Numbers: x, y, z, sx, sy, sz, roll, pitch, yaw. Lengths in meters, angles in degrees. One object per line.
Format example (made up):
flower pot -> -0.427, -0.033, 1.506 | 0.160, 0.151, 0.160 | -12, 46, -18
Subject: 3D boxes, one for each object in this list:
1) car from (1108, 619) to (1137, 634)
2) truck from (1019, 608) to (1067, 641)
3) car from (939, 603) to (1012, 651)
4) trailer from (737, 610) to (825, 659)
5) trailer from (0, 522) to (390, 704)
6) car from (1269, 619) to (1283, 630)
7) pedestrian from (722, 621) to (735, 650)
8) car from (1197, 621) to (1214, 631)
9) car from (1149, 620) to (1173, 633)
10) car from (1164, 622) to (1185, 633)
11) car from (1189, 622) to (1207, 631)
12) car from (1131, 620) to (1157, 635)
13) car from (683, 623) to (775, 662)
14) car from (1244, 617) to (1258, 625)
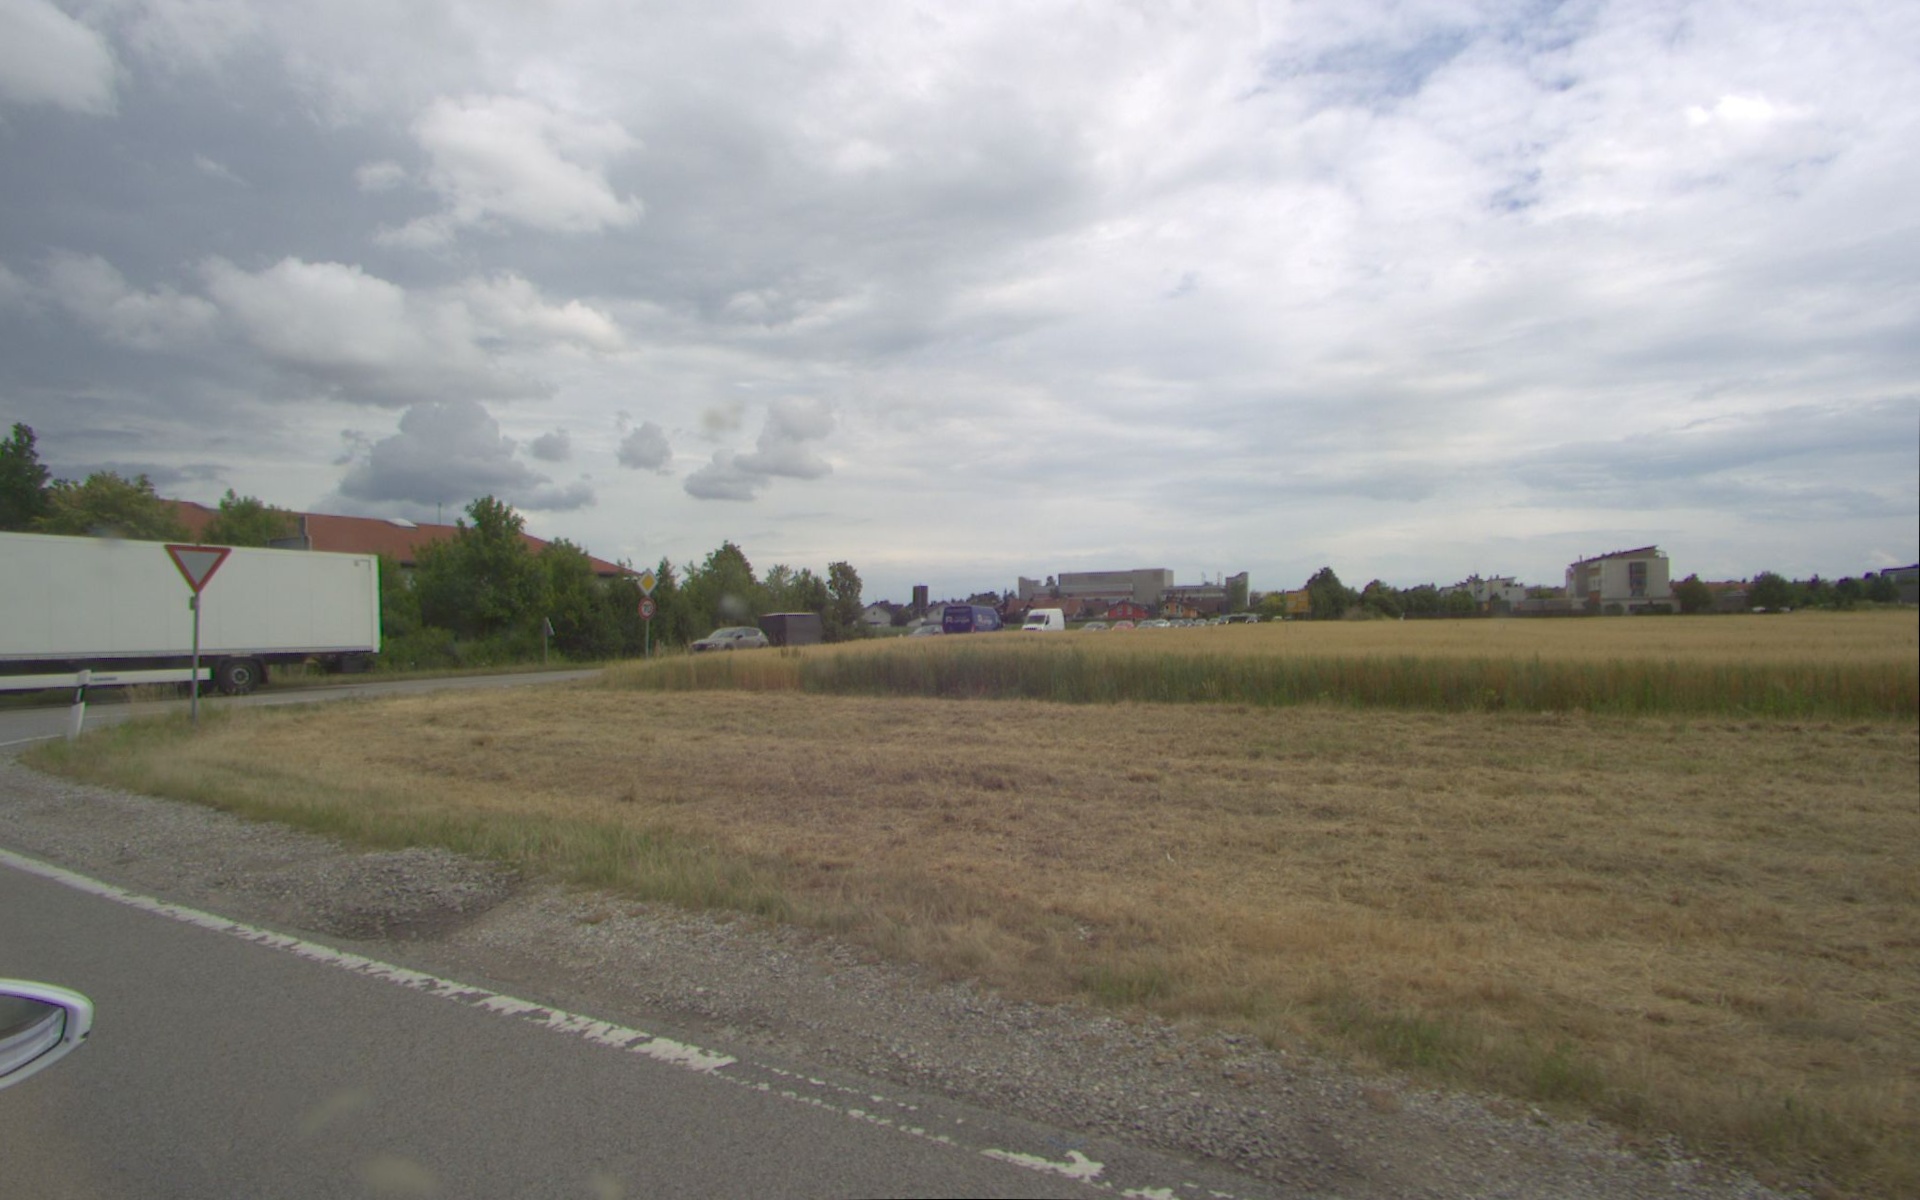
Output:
car -> 16.779, 2.738, 103.310 | 1.826, 1.485, 3.986 | -1, -1, 26
truck -> 6.957, 2.021, 83.303 | 1.968, 2.608, 5.997 | -2, -2, 25
car -> 0.975, 1.537, 58.625 | 2.115, 2.674, 5.549 | 0, 0, 26
trailer -> -9.132, 1.739, 51.534 | 2.378, 2.322, 4.383 | -2, -1, 24
trailer -> -21.903, 0.392, 25.201 | 3.079, 4.065, 13.843 | -2, -2, 25
car -> 55.329, 4.292, 175.324 | 1.966, 1.915, 3.989 | 0, 1, 22
pedestrian -> -13.645, 2.106, 59.026 | 0.521, 1.705, 0.626 | 0, 1, 21
car -> 35.151, 3.701, 143.341 | 1.826, 1.287, 3.519 | -1, -1, 25
car -> 23.509, 3.069, 117.075 | 1.826, 1.485, 3.987 | -1, -1, 25
car -> 26.339, 3.402, 122.872 | 1.826, 1.287, 3.519 | -1, -1, 25
car -> 32.585, 3.621, 137.087 | 1.826, 1.287, 3.519 | -1, -1, 25
car -> 20.106, 2.995, 109.396 | 1.826, 1.485, 3.986 | -1, -1, 26
car -> -10.878, 1.984, 47.422 | 1.967, 1.704, 4.466 | -2, -1, 23
car -> 50.907, 3.686, 175.254 | 1.826, 1.287, 3.519 | -1, -1, 25
